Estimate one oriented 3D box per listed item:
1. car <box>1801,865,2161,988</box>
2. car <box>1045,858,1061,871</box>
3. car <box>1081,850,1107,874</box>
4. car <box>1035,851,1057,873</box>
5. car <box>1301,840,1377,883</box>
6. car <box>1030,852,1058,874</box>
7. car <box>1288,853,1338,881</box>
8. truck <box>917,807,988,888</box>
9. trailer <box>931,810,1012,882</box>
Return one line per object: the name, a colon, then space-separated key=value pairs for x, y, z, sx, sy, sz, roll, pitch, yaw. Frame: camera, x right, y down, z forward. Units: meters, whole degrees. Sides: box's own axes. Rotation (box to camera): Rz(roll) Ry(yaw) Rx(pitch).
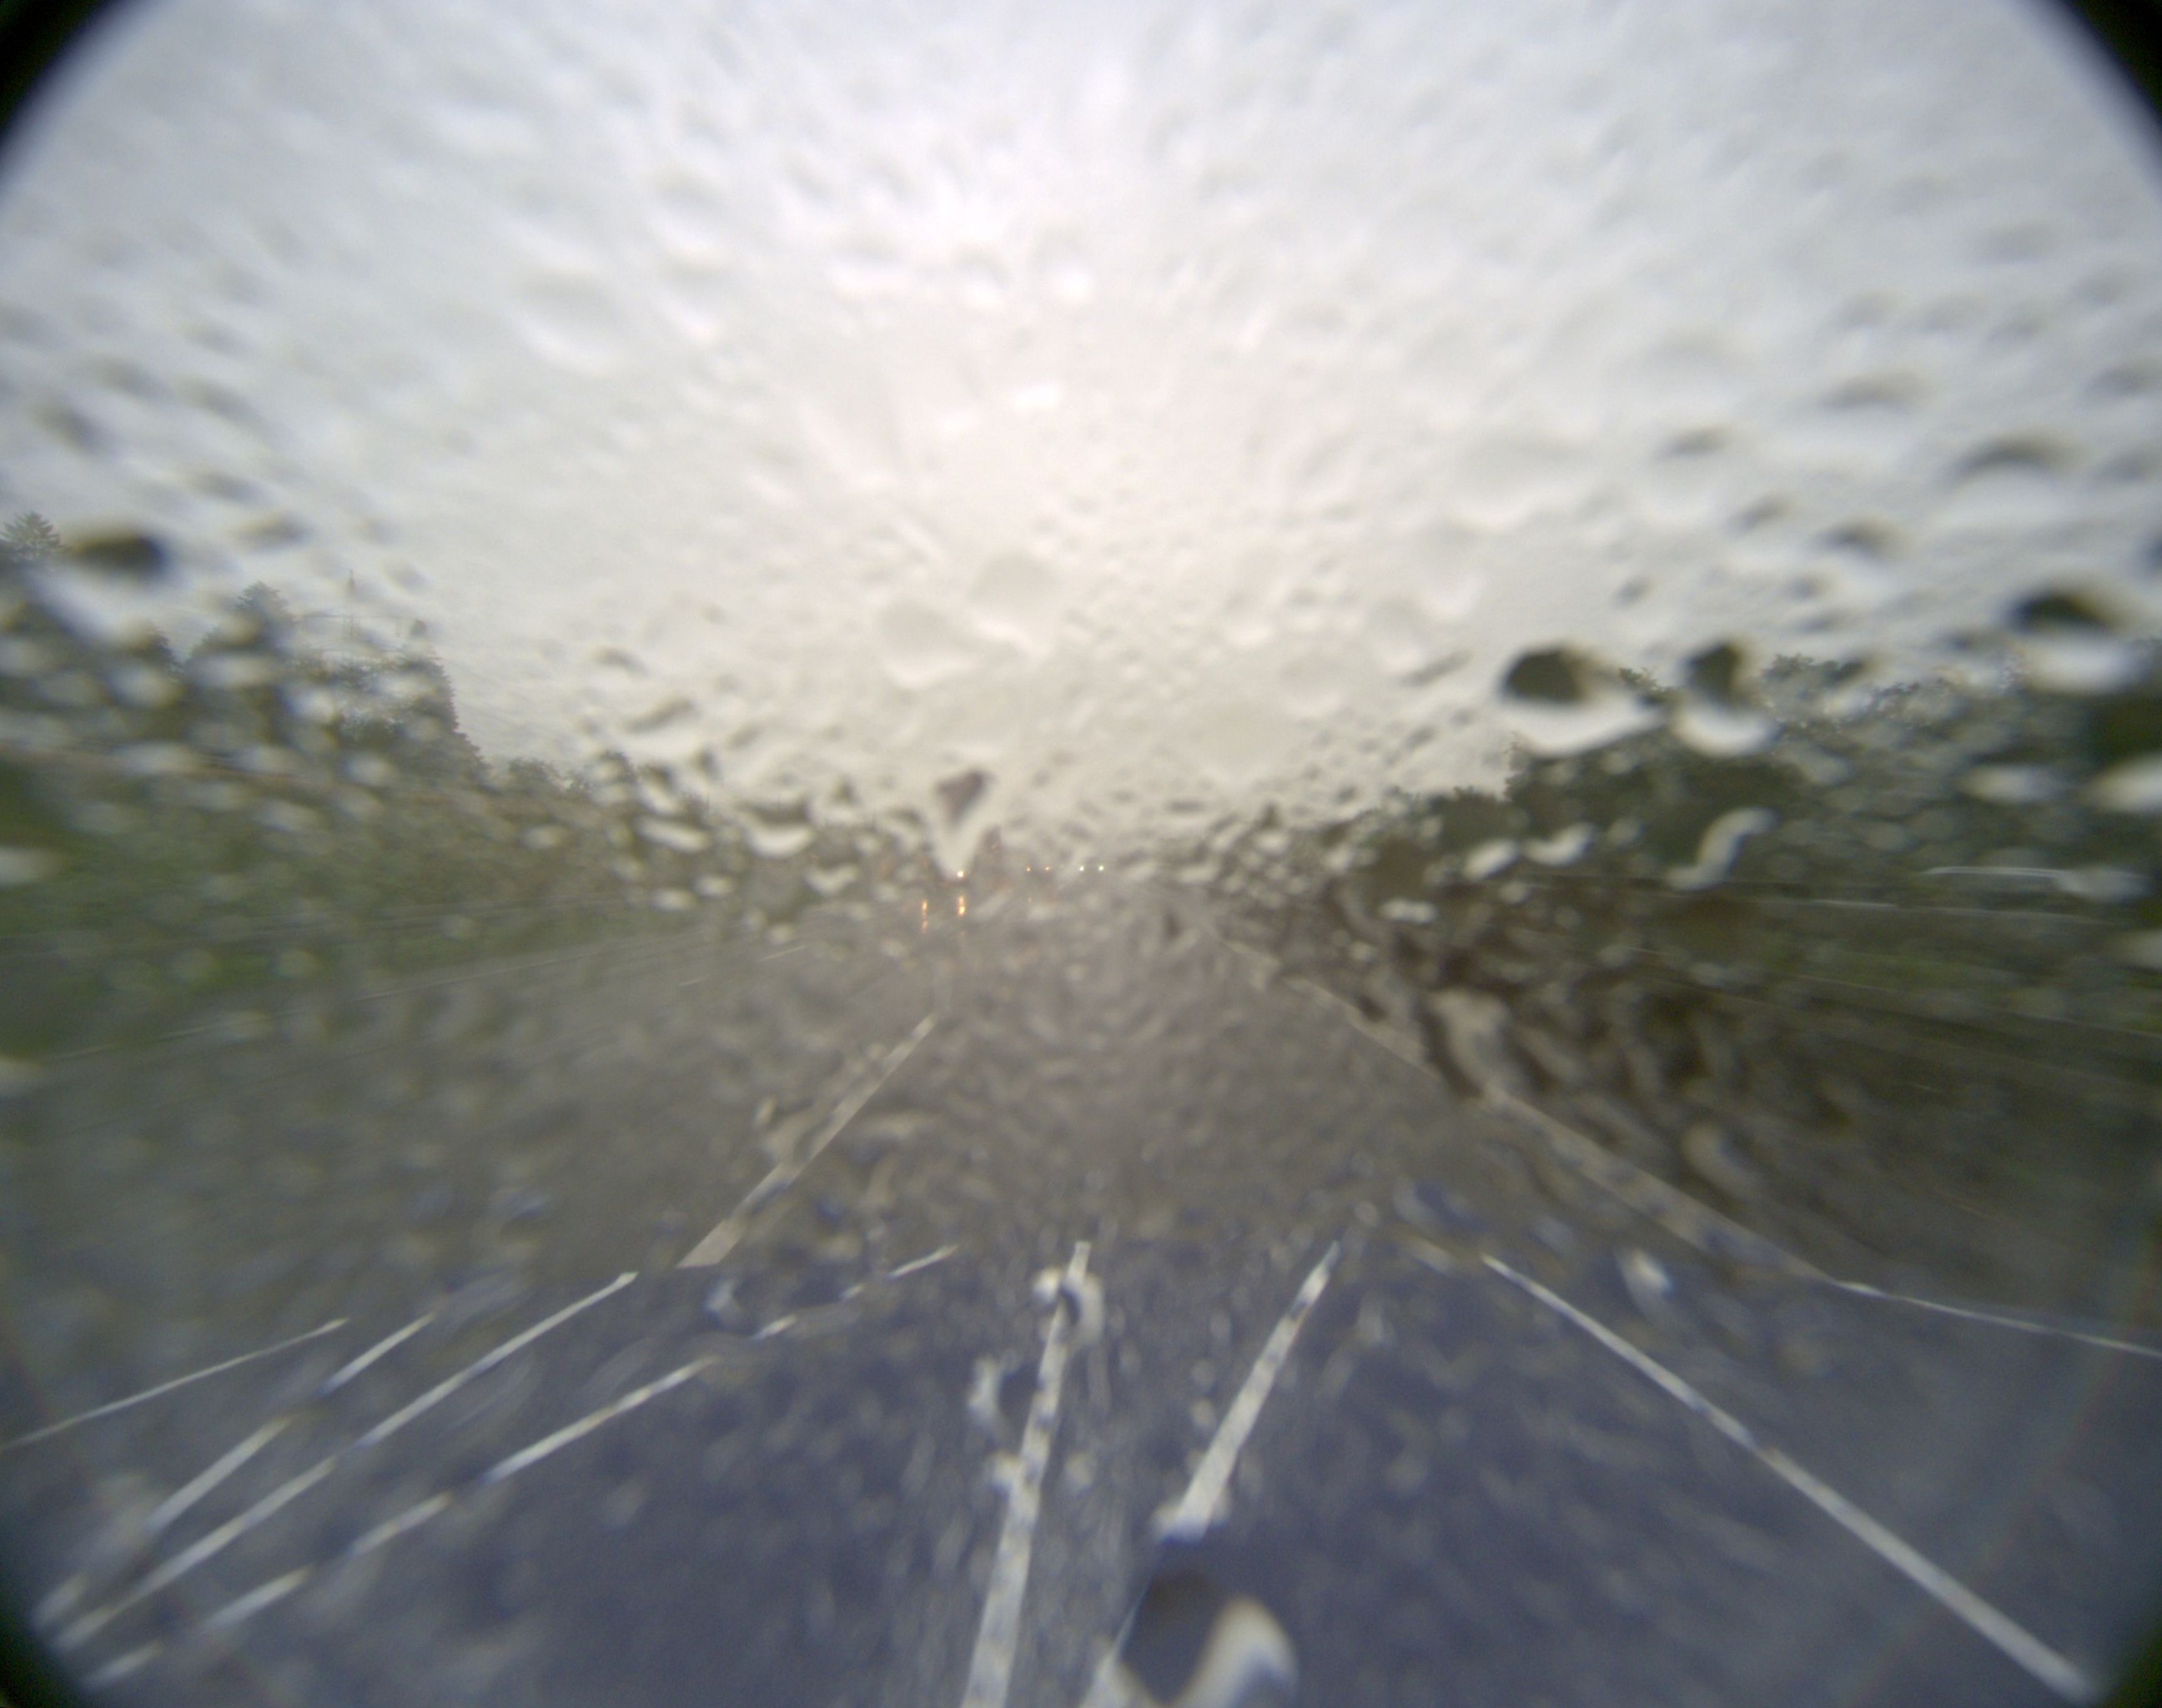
car: x=15.093 y=1.016 z=12.604 sx=1.737 sy=1.558 sz=4.761 roll=-2 pitch=0 yaw=0
car: x=-3.514 y=1.334 z=97.027 sx=1.845 sy=1.671 sz=4.000 roll=-2 pitch=0 yaw=0
car: x=0.975 y=0.588 z=58.077 sx=1.845 sy=1.671 sz=4.000 roll=-2 pitch=0 yaw=0
car: x=-2.739 y=0.606 z=59.510 sx=1.517 sy=1.606 sz=3.186 roll=-2 pitch=0 yaw=0
car: x=12.285 y=0.370 z=36.509 sx=2.036 sy=1.874 sz=4.628 roll=-2 pitch=0 yaw=1
car: x=-2.615 y=0.623 z=53.864 sx=1.663 sy=1.491 sz=3.837 roll=-2 pitch=0 yaw=1
car: x=16.016 y=0.905 z=52.666 sx=2.036 sy=1.781 sz=4.628 roll=-2 pitch=0 yaw=1
truck: x=-6.660 y=-0.303 z=40.295 sx=2.457 sy=3.866 sz=6.199 roll=-2 pitch=0 yaw=1
trailer: x=-6.567 y=-0.343 z=48.658 sx=2.486 sy=3.743 sz=16.545 roll=-2 pitch=0 yaw=1
